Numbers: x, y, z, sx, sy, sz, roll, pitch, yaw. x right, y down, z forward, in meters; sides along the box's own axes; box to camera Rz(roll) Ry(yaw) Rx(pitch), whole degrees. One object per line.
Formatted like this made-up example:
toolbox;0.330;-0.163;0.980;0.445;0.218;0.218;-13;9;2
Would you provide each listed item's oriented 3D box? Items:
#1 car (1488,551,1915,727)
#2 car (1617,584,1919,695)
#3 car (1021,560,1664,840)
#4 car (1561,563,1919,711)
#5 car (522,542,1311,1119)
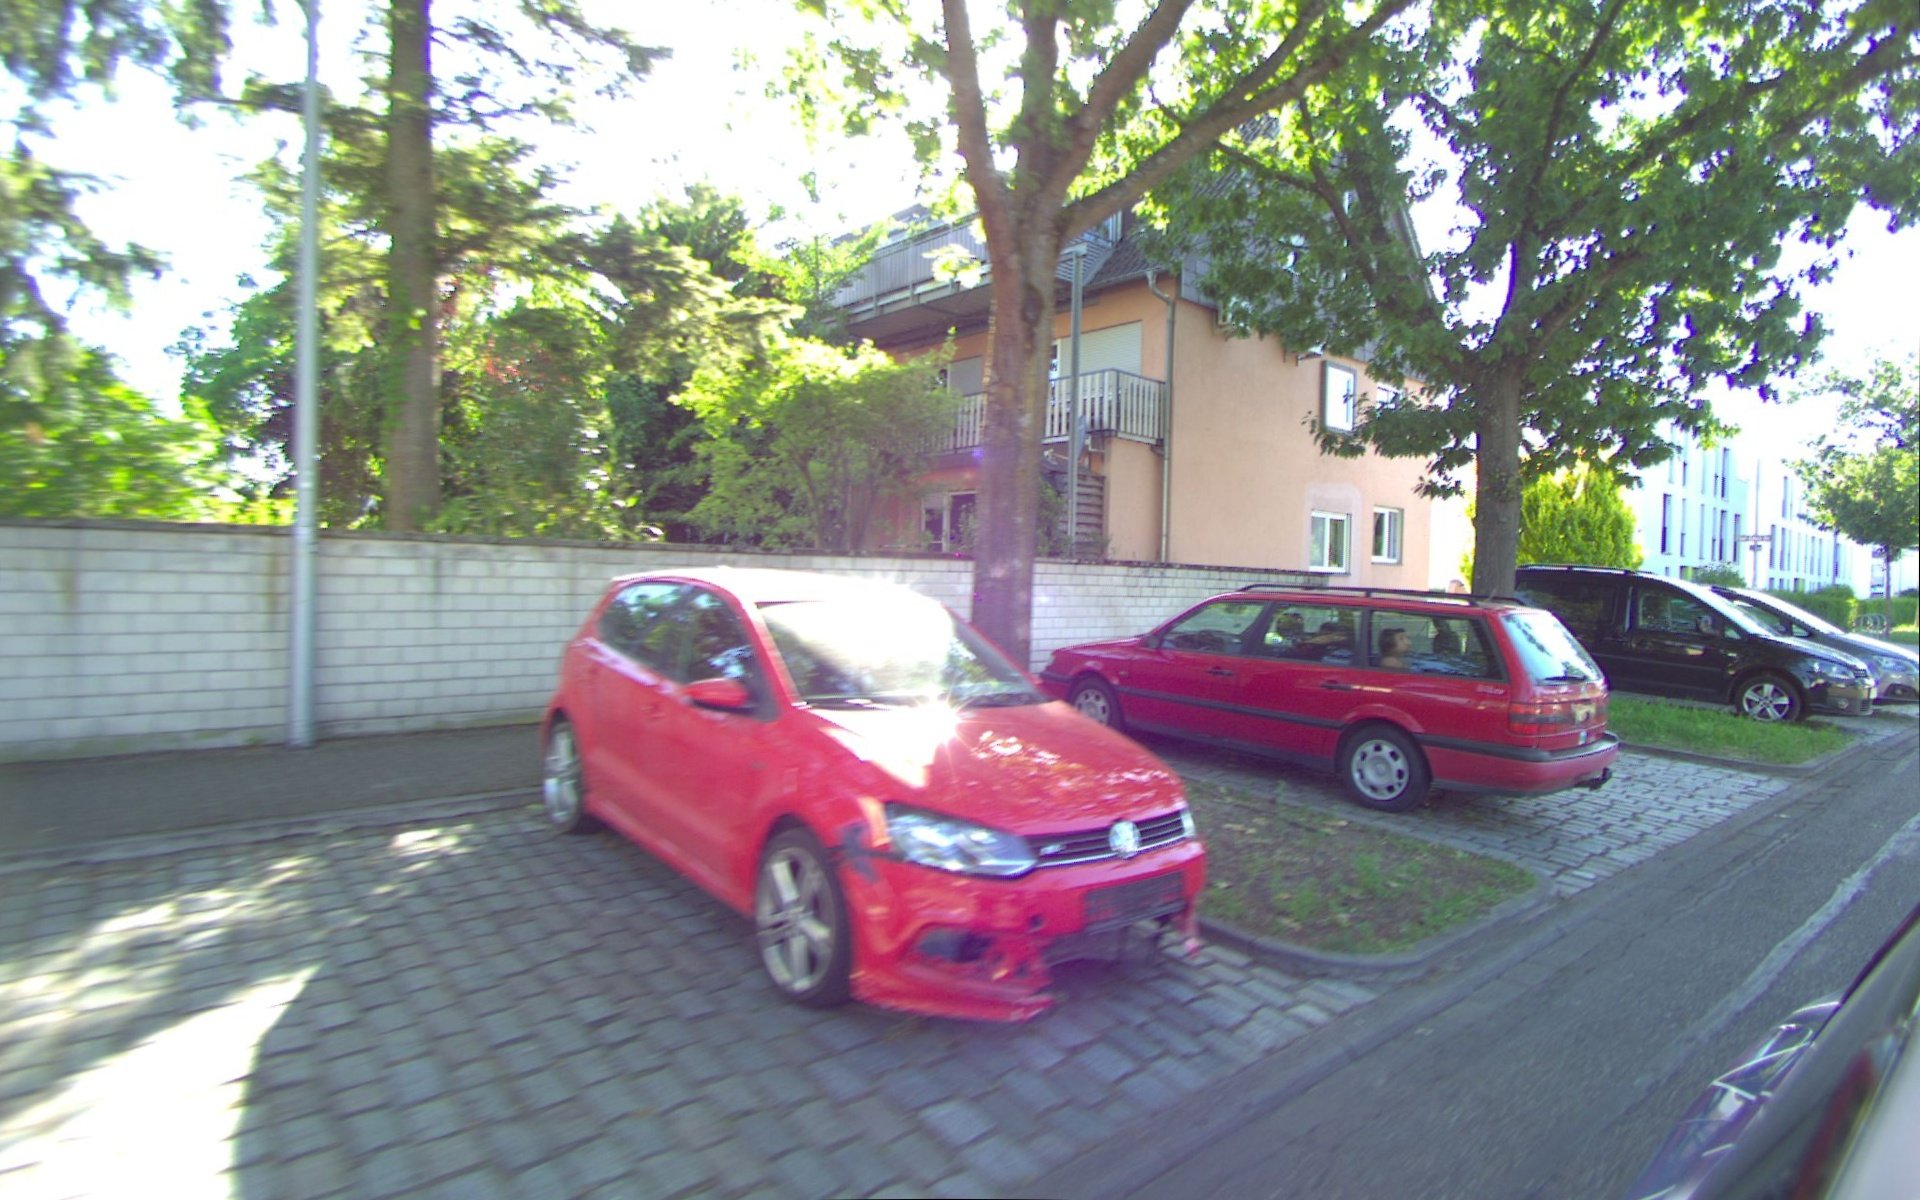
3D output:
car;9.674;0.362;13.518;1.757;1.803;4.223;0;4;-40
car;13.758;0.573;17.223;1.654;1.377;3.955;0;5;-40
car;2.711;0.520;8.168;1.805;1.463;4.514;1;3;-40
car;12.023;0.431;15.413;1.846;1.699;4.514;0;5;-41
car;-0.563;0.554;4.748;1.724;1.502;3.787;1;3;-40
